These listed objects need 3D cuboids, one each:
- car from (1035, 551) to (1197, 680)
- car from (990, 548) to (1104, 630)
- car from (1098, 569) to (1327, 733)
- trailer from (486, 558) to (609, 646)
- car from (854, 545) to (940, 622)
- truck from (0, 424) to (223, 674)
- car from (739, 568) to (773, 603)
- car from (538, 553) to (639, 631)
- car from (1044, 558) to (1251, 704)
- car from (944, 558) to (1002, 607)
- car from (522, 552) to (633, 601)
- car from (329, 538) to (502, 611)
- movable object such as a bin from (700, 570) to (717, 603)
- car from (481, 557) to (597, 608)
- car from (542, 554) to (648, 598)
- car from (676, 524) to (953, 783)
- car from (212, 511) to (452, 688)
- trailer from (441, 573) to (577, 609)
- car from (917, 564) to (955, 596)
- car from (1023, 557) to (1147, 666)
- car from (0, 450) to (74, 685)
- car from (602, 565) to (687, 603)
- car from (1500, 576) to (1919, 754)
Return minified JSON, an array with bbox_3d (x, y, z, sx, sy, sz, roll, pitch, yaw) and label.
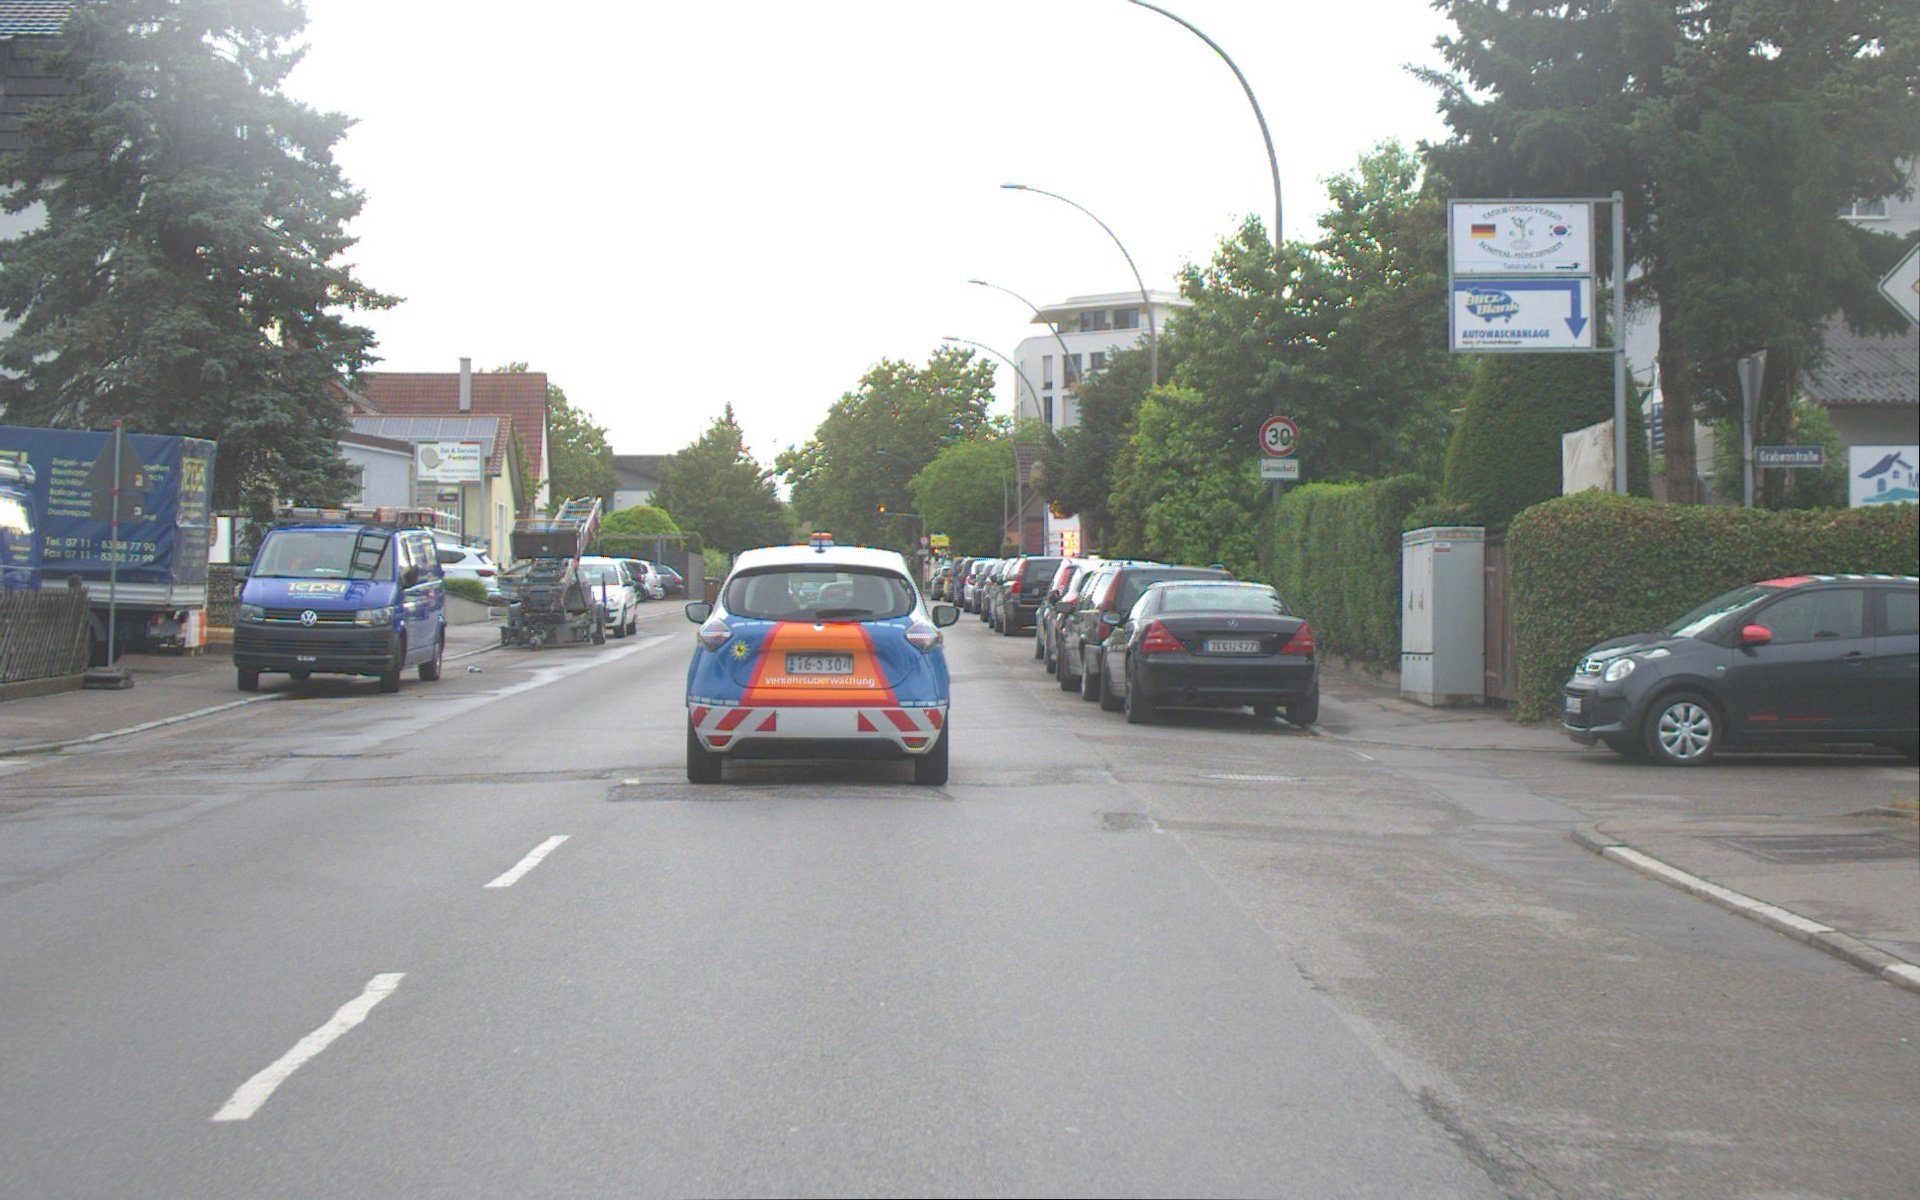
[{"bbox_3d":[1.866,0.158,42.075,1.657,1.444,3.830,2,1,-2],"label":"car"},{"bbox_3d":[1.594,-0.206,64.149,1.711,1.433,4.527,2,0,-3],"label":"car"},{"bbox_3d":[2.297,0.429,32.165,1.589,1.336,4.093,3,1,-3],"label":"car"},{"bbox_3d":[-7.031,0.007,58.981,1.717,1.256,5.245,2,2,-3],"label":"trailer"},{"bbox_3d":[-1.349,-0.346,72.361,1.650,1.516,4.000,2,0,-3],"label":"car"},{"bbox_3d":[-12.745,-0.698,44.236,5.911,3.063,2.449,2,0,0],"label":"truck"},{"bbox_3d":[-8.583,-0.618,145.013,1.386,1.478,3.784,0,1,-3],"label":"car"},{"bbox_3d":[-7.167,-0.156,66.615,1.557,1.428,4.000,2,0,-1],"label":"car"},{"bbox_3d":[1.940,0.302,36.878,1.656,1.414,4.777,2,0,-3],"label":"car"},{"bbox_3d":[0.412,-0.580,112.586,1.650,1.516,4.000,2,0,-3],"label":"car"},{"bbox_3d":[-13.300,-0.811,119.652,3.759,1.571,1.655,2,0,-5],"label":"car"},{"bbox_3d":[-12.603,-0.594,79.765,3.759,1.562,1.655,2,0,-2],"label":"car"},{"bbox_3d":[-9.505,-0.510,130.028,0.579,1.200,0.318,1,0,-1],"label":"movable object such as a bin"},{"bbox_3d":[-13.337,-0.558,109.066,3.579,1.521,1.655,2,0,-5],"label":"car"},{"bbox_3d":[-13.149,-0.855,124.017,3.759,1.478,1.655,2,0,-5],"label":"car"},{"bbox_3d":[-0.973,0.330,23.406,1.731,1.625,3.495,0,0,-2],"label":"car"},{"bbox_3d":[-7.421,-0.012,41.132,1.993,1.940,5.365,1,0,-2],"label":"car"},{"bbox_3d":[-13.979,-0.283,106.592,4.022,0.991,1.655,2,0,-2],"label":"trailer"},{"bbox_3d":[-1.182,-0.956,166.283,1.650,1.478,4.000,2,0,-3],"label":"car"},{"bbox_3d":[1.727,0.134,48.455,1.487,1.434,3.807,2,1,-1],"label":"car"},{"bbox_3d":[-11.479,-0.376,37.350,2.075,2.558,6.202,2,0,0],"label":"car"},{"bbox_3d":[-12.466,-0.631,135.938,3.281,1.443,1.480,-1,1,-5],"label":"car"},{"bbox_3d":[6.392,0.502,26.760,3.986,1.262,1.951,2,0,-2],"label":"car"}]
